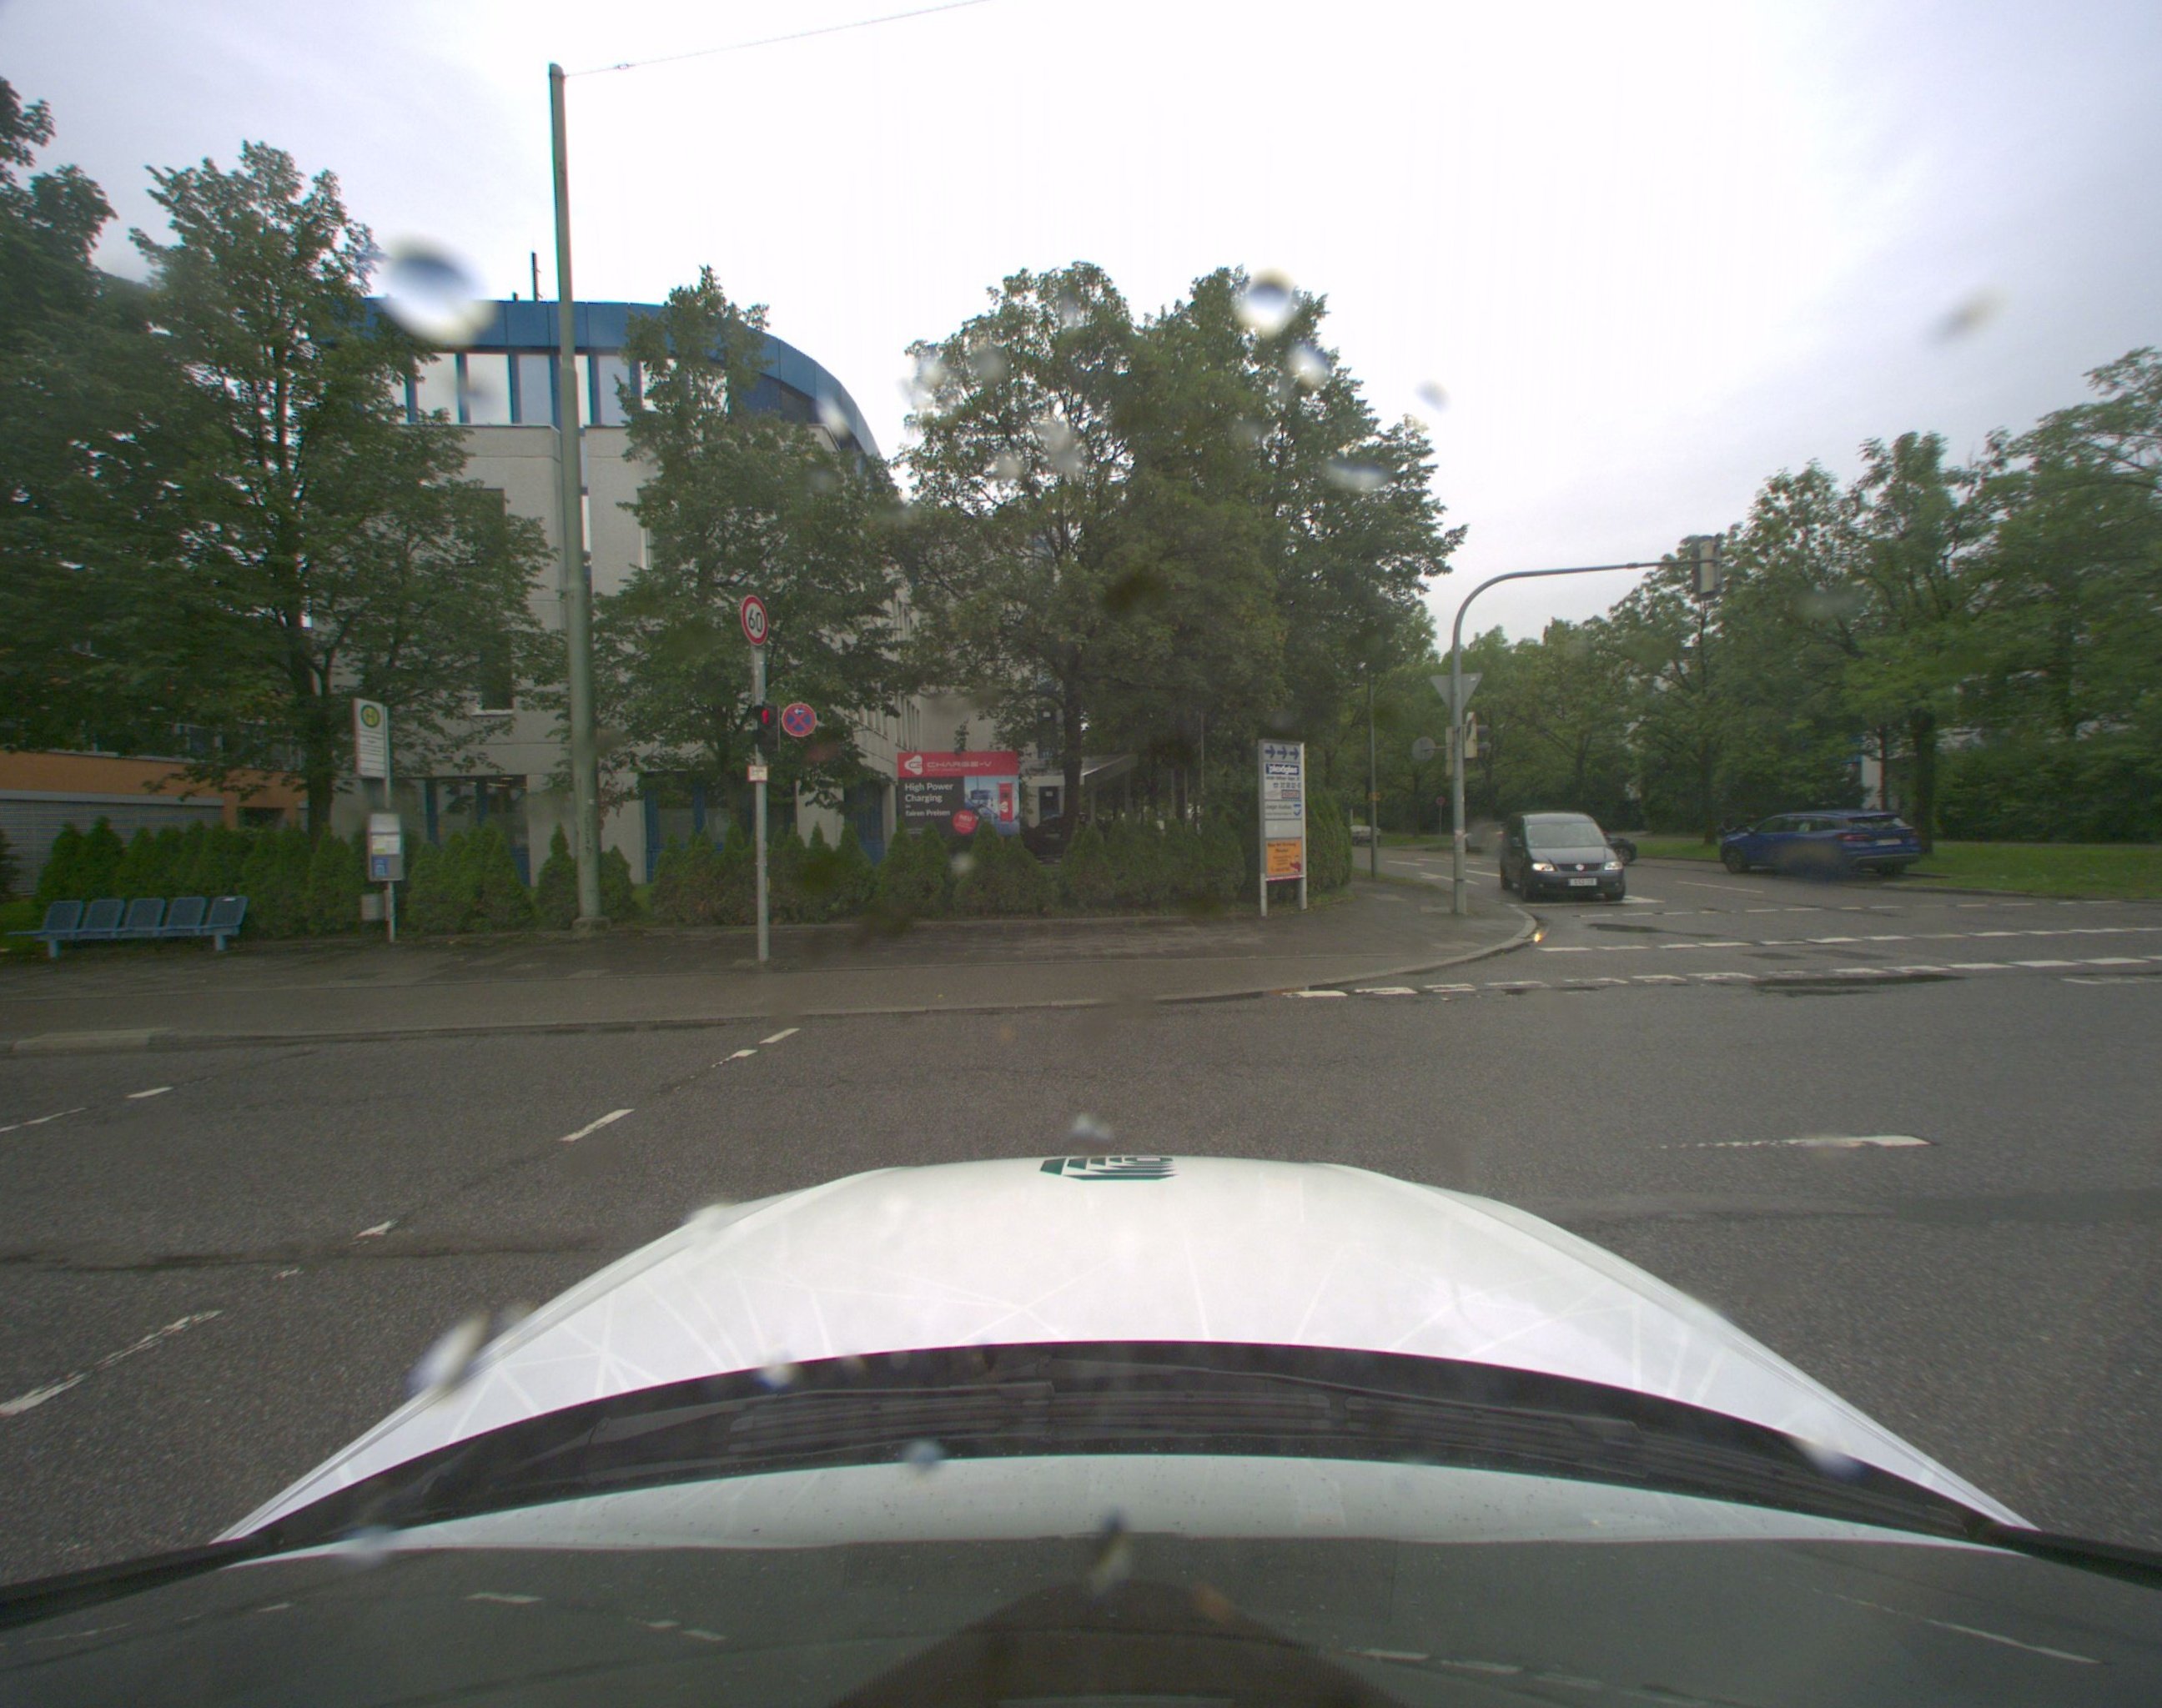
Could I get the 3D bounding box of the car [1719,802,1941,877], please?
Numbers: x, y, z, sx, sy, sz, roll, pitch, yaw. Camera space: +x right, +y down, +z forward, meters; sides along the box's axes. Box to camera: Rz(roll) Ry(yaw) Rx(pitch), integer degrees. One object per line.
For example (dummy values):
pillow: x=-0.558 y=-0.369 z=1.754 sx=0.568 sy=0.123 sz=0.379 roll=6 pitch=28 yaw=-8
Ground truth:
car: x=18.752 y=-0.381 z=20.724 sx=1.983 sy=1.574 sz=4.291 roll=-4 pitch=1 yaw=7

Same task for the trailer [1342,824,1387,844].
trailer: x=19.016 y=-1.375 z=54.748 sx=1.550 sy=1.262 sz=3.417 roll=-2 pitch=3 yaw=-6

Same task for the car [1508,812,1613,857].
car: x=19.240 y=-0.767 z=32.896 sx=1.751 sy=1.574 sz=4.165 roll=-4 pitch=1 yaw=0

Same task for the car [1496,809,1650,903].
car: x=10.394 y=-0.018 z=17.610 sx=1.977 sy=1.722 sz=4.816 roll=-1 pitch=1 yaw=20

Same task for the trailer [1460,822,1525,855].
trailer: x=19.320 y=-0.757 z=38.343 sx=1.441 sy=1.413 sz=3.345 roll=-2 pitch=3 yaw=2

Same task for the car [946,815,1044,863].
car: x=-2.771 y=-0.556 z=27.256 sx=1.850 sy=1.418 sz=4.194 roll=-1 pitch=3 yaw=15

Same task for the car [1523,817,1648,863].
car: x=16.933 y=-0.468 z=27.506 sx=3.246 sy=1.443 sz=1.672 roll=-1 pitch=1 yaw=14

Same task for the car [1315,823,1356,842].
car: x=18.449 y=-1.585 z=59.074 sx=1.551 sy=1.262 sz=3.416 roll=-2 pitch=3 yaw=-7

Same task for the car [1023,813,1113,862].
car: x=-0.326 y=-0.598 z=26.765 sx=1.850 sy=1.418 sz=4.194 roll=-1 pitch=3 yaw=15
